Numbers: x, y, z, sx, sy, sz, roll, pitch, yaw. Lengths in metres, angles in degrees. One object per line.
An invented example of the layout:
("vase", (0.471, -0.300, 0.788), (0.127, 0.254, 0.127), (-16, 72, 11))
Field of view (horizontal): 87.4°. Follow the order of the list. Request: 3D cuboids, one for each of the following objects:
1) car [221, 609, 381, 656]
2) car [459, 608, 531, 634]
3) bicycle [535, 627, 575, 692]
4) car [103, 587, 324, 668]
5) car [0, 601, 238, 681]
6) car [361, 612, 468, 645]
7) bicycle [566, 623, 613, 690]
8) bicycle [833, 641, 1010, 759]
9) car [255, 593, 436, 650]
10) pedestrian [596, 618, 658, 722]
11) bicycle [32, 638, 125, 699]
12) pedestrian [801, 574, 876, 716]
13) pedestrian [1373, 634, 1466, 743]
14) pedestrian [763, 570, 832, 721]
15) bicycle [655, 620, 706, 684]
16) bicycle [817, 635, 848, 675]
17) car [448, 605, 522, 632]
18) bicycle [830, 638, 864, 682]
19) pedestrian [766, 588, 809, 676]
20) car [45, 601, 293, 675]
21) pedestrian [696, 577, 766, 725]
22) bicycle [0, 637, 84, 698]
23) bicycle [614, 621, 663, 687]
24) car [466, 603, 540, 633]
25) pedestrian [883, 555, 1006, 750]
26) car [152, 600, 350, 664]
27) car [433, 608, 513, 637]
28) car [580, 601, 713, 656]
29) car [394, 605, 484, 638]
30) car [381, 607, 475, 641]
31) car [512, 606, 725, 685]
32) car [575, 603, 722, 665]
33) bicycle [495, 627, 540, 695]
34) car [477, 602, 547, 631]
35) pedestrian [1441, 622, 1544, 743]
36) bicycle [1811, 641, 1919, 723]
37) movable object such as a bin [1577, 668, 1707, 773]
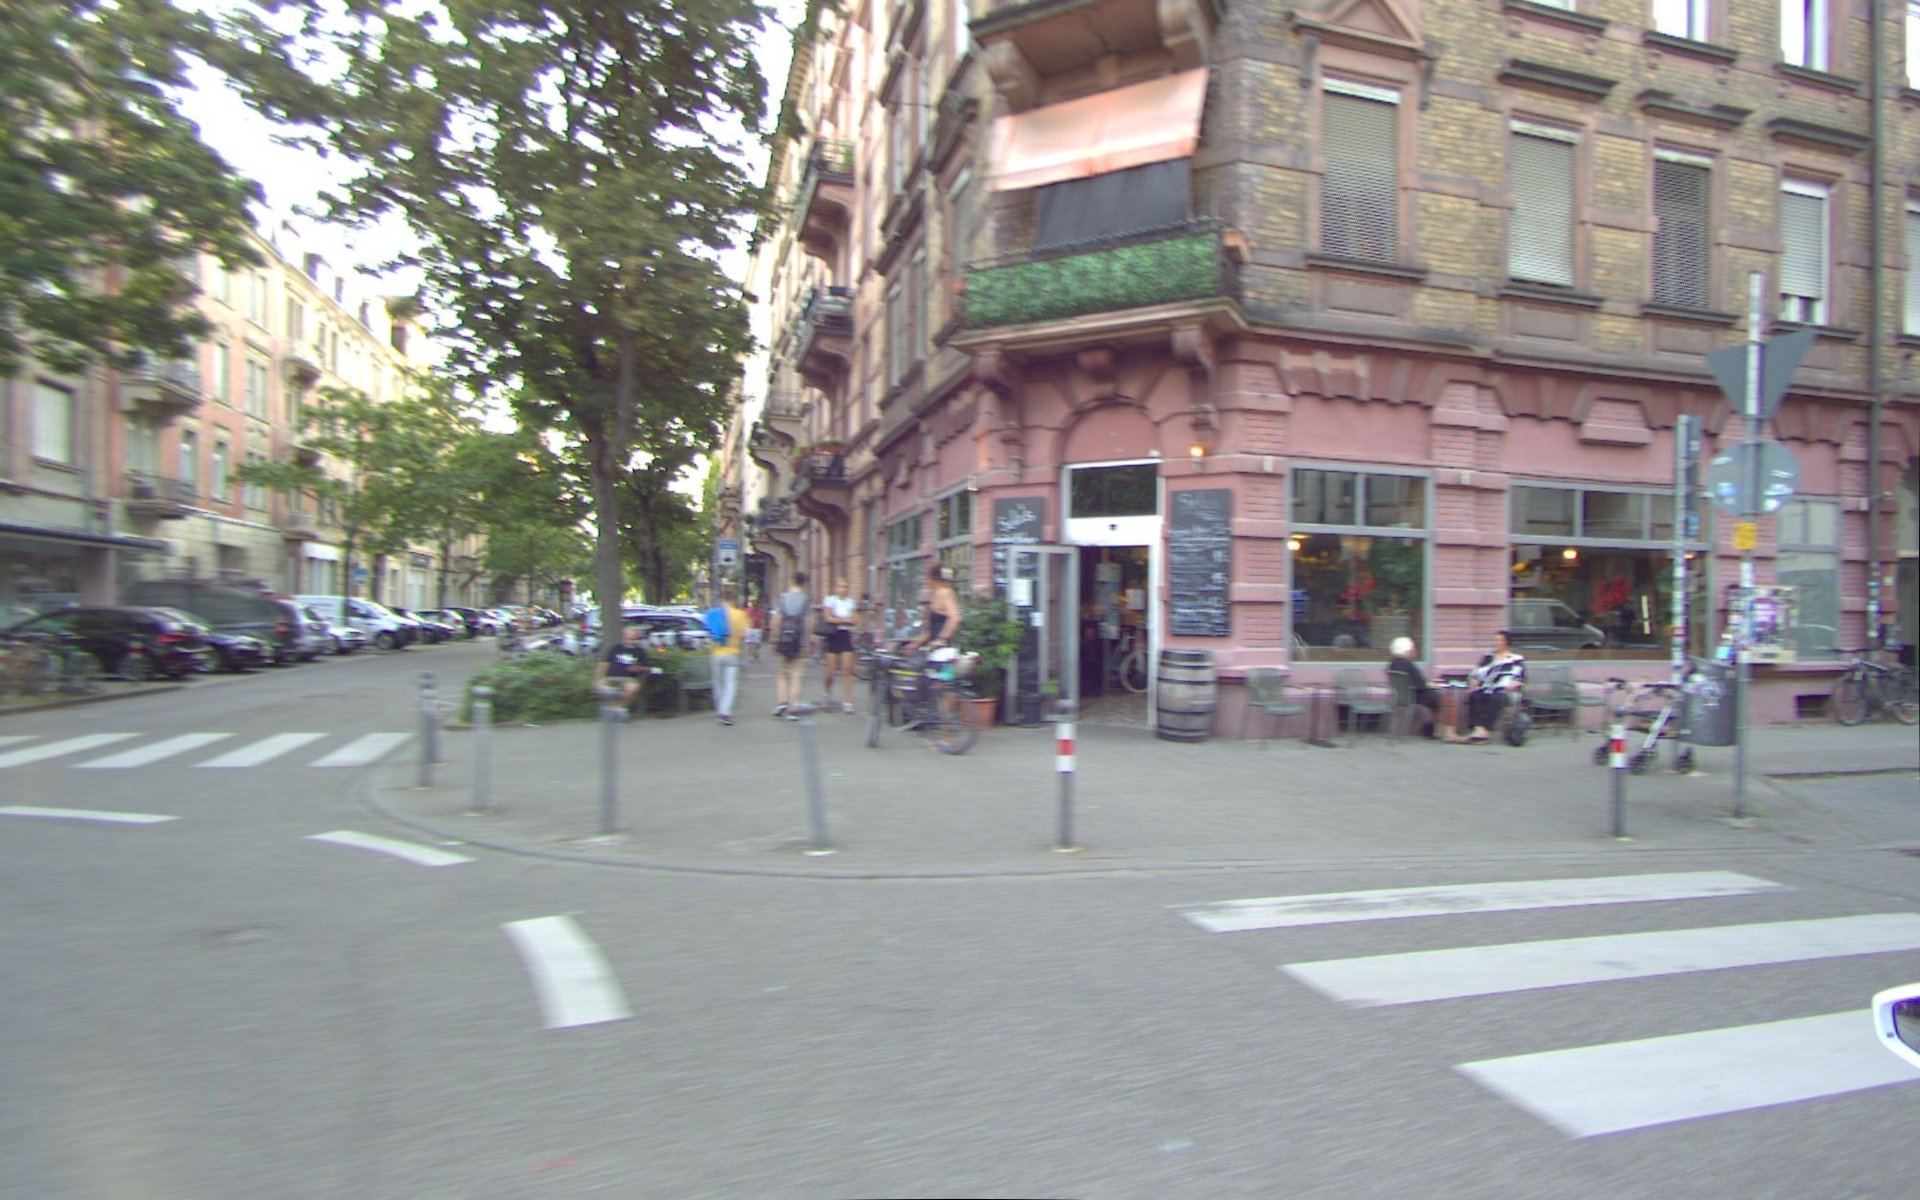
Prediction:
("car", (-20.202, 1.014, 30.964), (3.750, 1.329, 1.715), (2, -2, -17))
("car", (-28.889, 1.325, 62.508), (3.750, 1.528, 1.715), (2, -2, -17))
("bicycle", (-7.950, 1.130, 19.693), (0.578, 1.173, 1.796), (-1, 0, -26))
("car", (-18.617, 0.709, 25.270), (3.935, 1.862, 1.993), (2, -2, -17))
("car", (-17.061, 0.827, 20.252), (3.627, 1.496, 1.716), (2, -2, -17))
("car", (-23.466, 1.244, 43.332), (3.750, 1.329, 1.715), (2, -2, -17))
("bicycle", (-7.409, 1.096, 20.038), (0.679, 1.219, 1.800), (-1, 1, -26))
("bicycle", (-0.404, 0.961, 10.084), (1.745, 1.039, 0.611), (0, 1, 34))
("car", (-21.796, 0.784, 35.846), (5.022, 1.854, 2.112), (2, -2, -14))
("pedestrian", (-4.501, 0.922, 13.570), (0.724, 1.323, 0.789), (-2, 0, -21))
("bicycle", (-14.650, 1.125, 16.731), (0.469, 0.907, 1.486), (2, 0, -12))
("pedestrian", (-1.674, 0.585, 13.704), (0.744, 1.836, 1.044), (-2, 1, -21))
("pedestrian", (5.127, 0.977, 11.214), (0.778, 1.158, 0.503), (2, 0, -15))
("pedestrian", (-2.107, 0.563, 12.965), (0.746, 1.853, 0.885), (-2, 1, -15))
("bicycle", (-5.773, 1.045, 20.682), (0.679, 1.200, 1.800), (-1, 1, -26))
("bicycle", (-3.089, 1.316, 24.291), (0.588, 0.901, 1.492), (0, -1, -13))
("car", (-28.587, 1.129, 60.594), (3.750, 1.528, 1.715), (2, -2, -17))
("bicycle", (-2.533, 1.321, 22.377), (0.588, 0.901, 1.492), (0, -1, -13))
("pedestrian", (-3.580, 0.648, 20.847), (0.684, 1.748, 0.848), (-2, 1, -21))
("car", (-17.727, 0.866, 22.743), (3.937, 1.530, 1.845), (2, -2, -19))
("pedestrian", (-2.943, 0.626, 12.865), (0.746, 1.815, 0.784), (-2, 1, -19))
("bicycle", (-15.274, 1.096, 16.627), (0.469, 0.907, 1.486), (2, 0, -12))
("bicycle", (-6.572, 1.073, 20.469), (0.679, 1.235, 1.800), (-1, 1, -26))
("car", (-29.507, 1.169, 65.013), (3.930, 1.809, 1.996), (2, 0, -12))
("pedestrian", (-0.159, 0.507, 10.284), (1.005, 1.880, 0.723), (0, 1, 34))
("car", (-19.186, 0.877, 27.377), (3.935, 1.595, 1.902), (2, -2, -17))
("car", (-27.117, 1.258, 56.018), (3.750, 1.528, 1.715), (2, -2, -17))
("car", (-11.232, 1.029, 36.121), (4.402, 1.824, 1.970), (2, 0, -18))
("car", (-26.444, 1.116, 51.127), (3.750, 1.528, 1.715), (2, -2, -17))
("car", (-25.907, 1.181, 49.044), (3.750, 1.528, 1.715), (2, -2, -17))
("car", (-7.735, 1.041, 23.048), (4.402, 1.647, 1.883), (2, 0, -17))
("car", (-10.078, 1.099, 32.688), (4.402, 1.824, 1.970), (2, 0, -18))
("bicycle", (-8.592, 1.147, 19.479), (0.697, 1.192, 1.940), (-1, 0, -26))
("car", (-30.103, 1.134, 67.573), (3.930, 1.809, 1.996), (2, 0, -12))
("pedestrian", (6.078, 0.910, 11.472), (0.898, 1.271, 0.644), (0, 3, -32))
("bicycle", (12.653, 1.111, 13.814), (1.865, 1.067, 0.425), (1, 0, -14))
("movable object such as a bin", (6.652, 1.157, 9.816), (0.719, 0.928, 0.760), (2, 0, -20))
